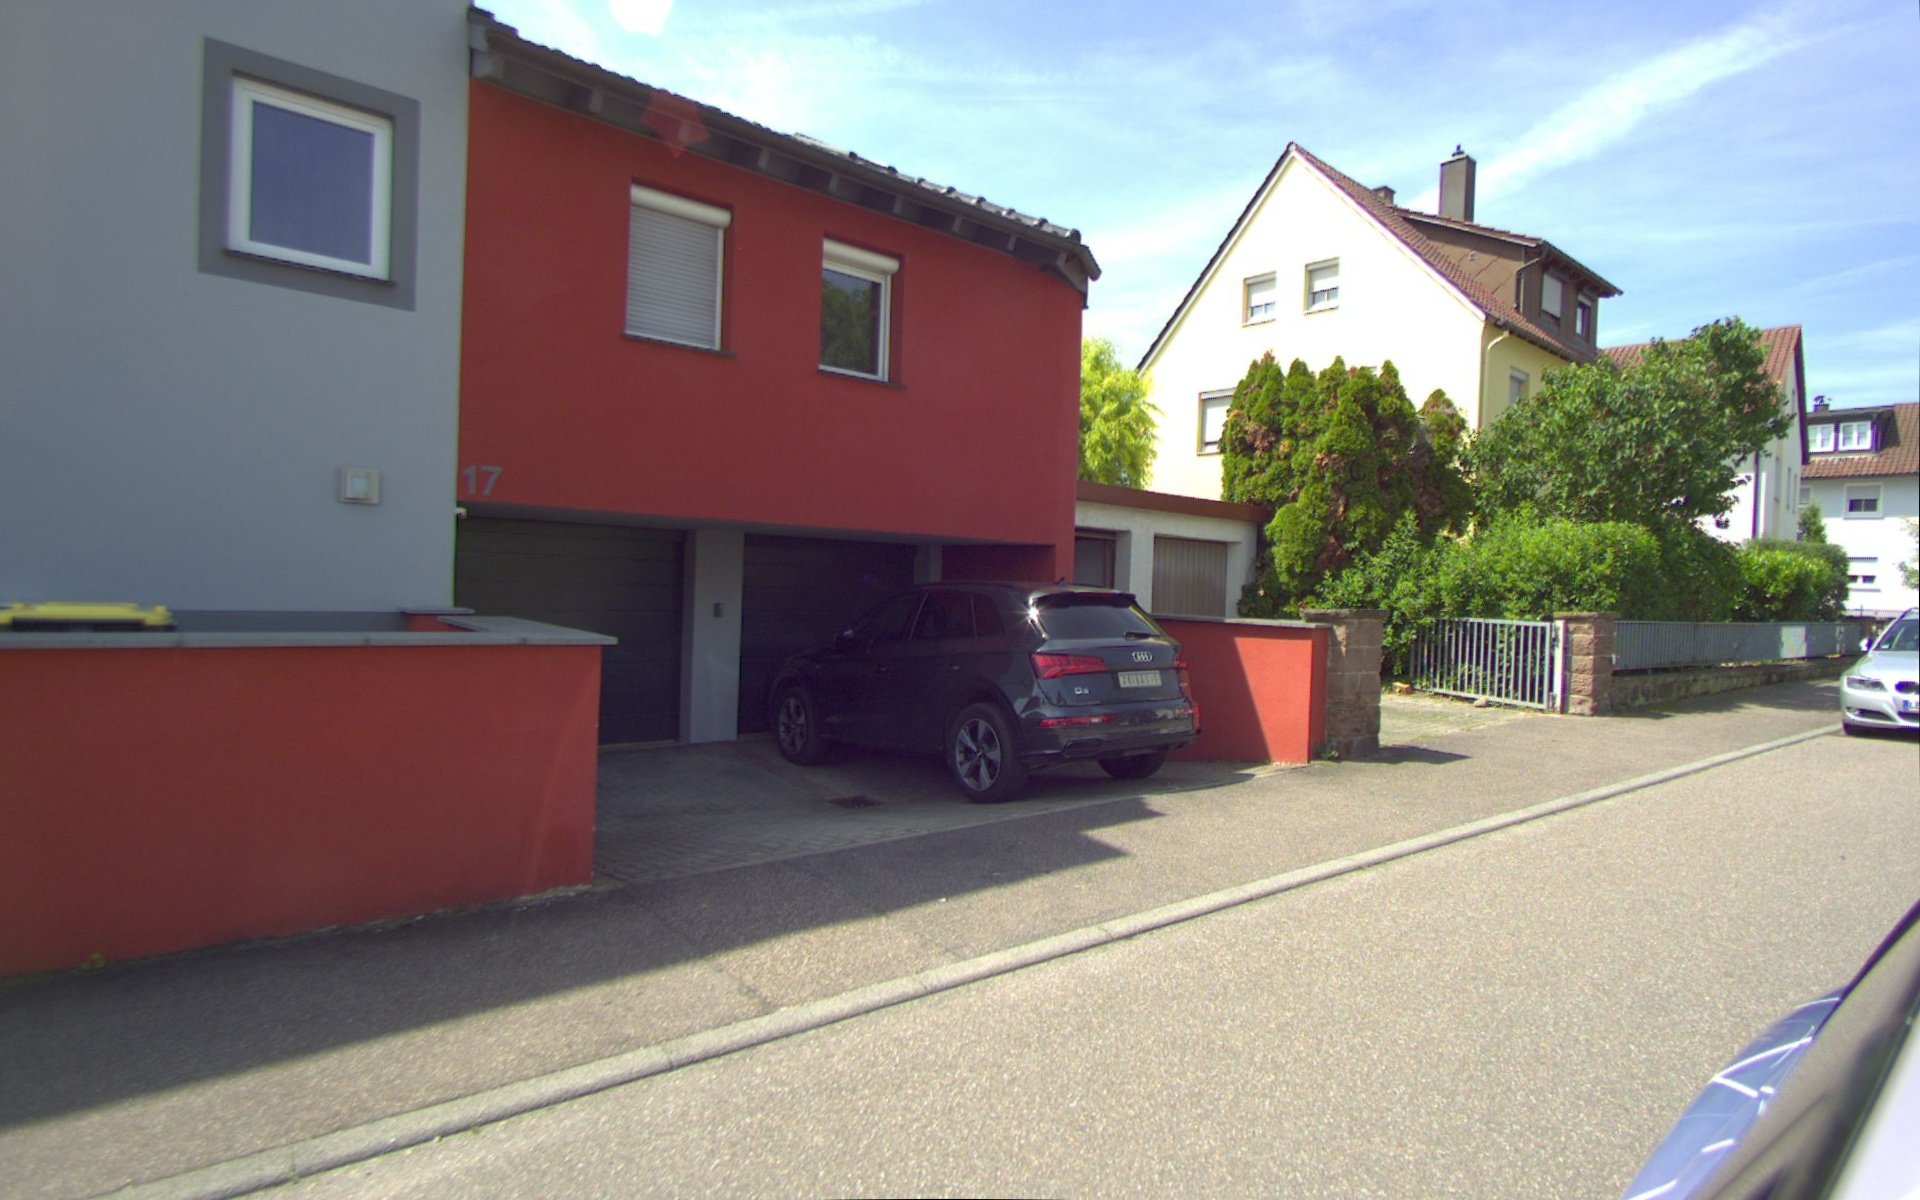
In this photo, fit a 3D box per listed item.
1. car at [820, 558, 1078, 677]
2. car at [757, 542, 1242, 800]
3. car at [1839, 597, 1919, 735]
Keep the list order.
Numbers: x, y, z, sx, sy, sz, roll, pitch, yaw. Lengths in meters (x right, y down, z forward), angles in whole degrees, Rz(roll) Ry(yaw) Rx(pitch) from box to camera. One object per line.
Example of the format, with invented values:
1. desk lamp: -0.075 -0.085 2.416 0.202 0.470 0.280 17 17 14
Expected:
1. car: -0.292 0.175 15.124 1.756 1.484 3.965 1 2 -38
2. car: 0.064 0.617 8.942 1.842 1.691 4.375 0 -4 -38
3. car: 11.877 0.690 11.719 4.339 1.439 1.756 0 0 -38
